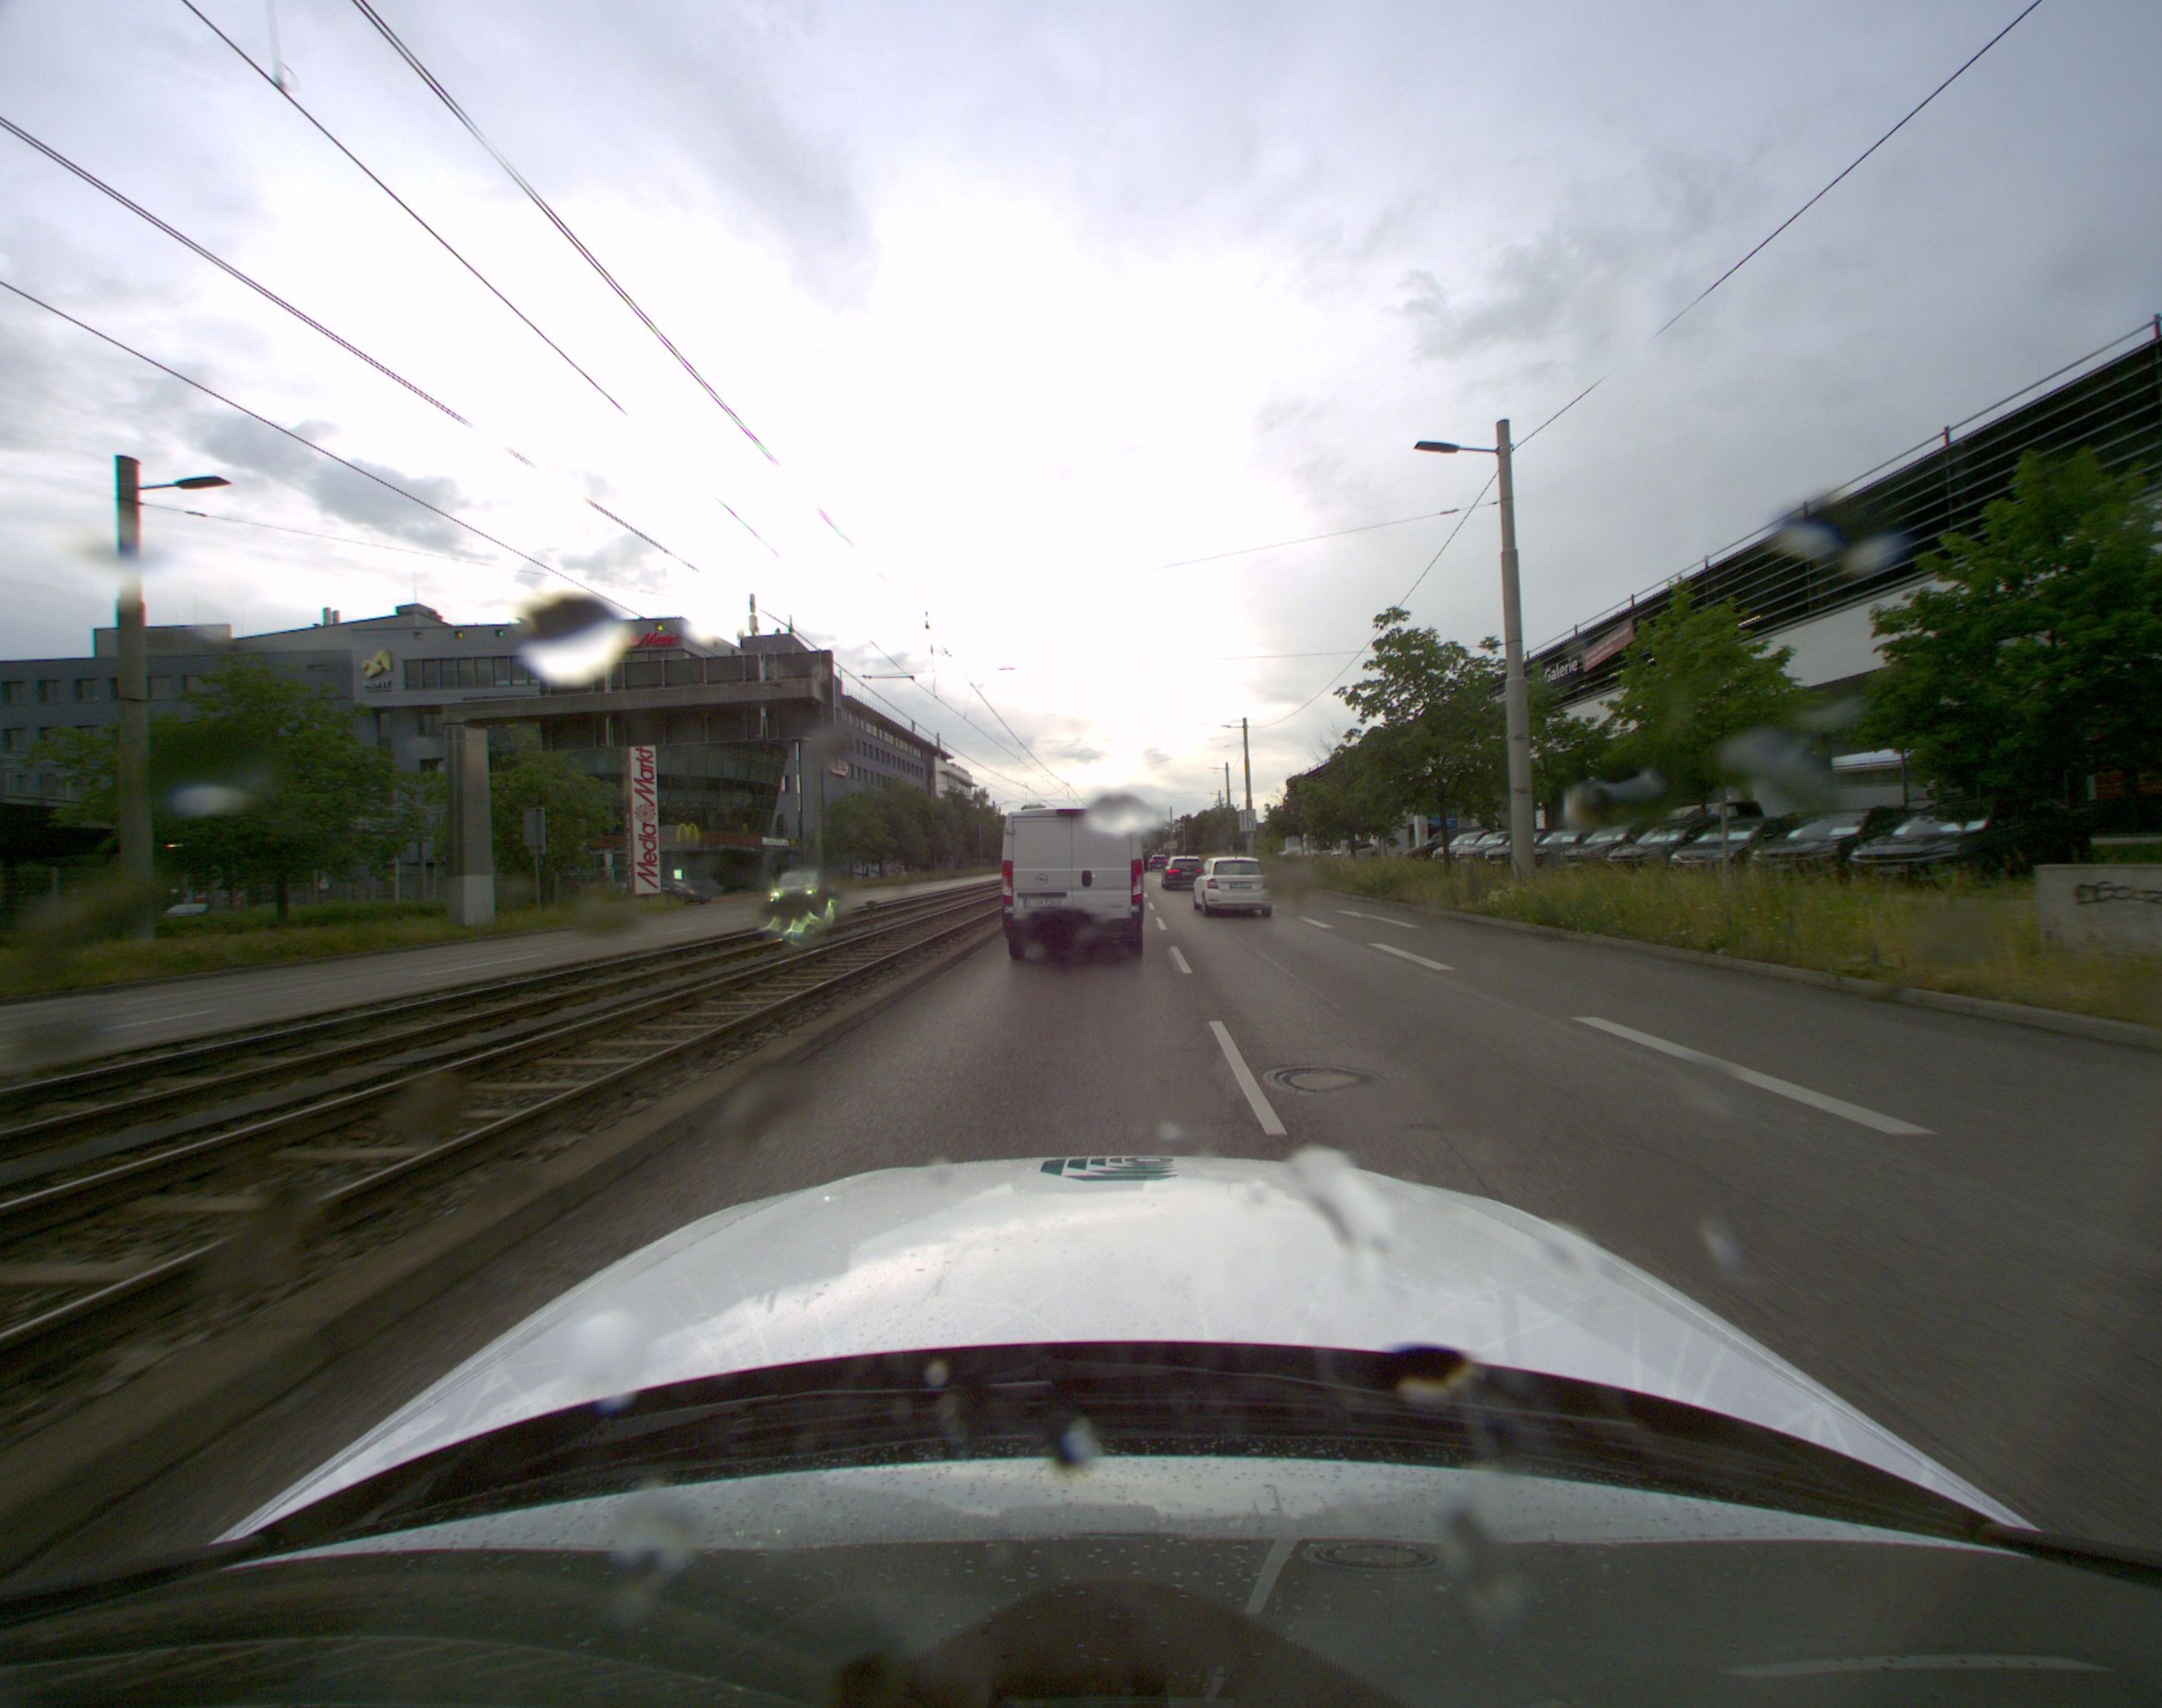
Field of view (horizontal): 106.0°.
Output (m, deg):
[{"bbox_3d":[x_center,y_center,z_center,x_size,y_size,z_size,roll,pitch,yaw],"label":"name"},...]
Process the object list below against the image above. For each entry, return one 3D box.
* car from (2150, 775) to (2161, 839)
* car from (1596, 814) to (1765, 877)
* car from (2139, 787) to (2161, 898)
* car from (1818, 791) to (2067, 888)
[{"bbox_3d":[25.705,-1.136,17.009,1.659,1.472,3.901,-3,0,2],"label":"car"},{"bbox_3d":[17.549,-0.242,23.890,4.149,1.528,1.821,-4,0,-17],"label":"car"},{"bbox_3d":[16.737,-0.308,10.692,4.042,1.501,1.682,-4,0,-9],"label":"car"},{"bbox_3d":[17.131,-0.284,16.227,4.054,1.576,1.723,-4,0,-17],"label":"car"}]
